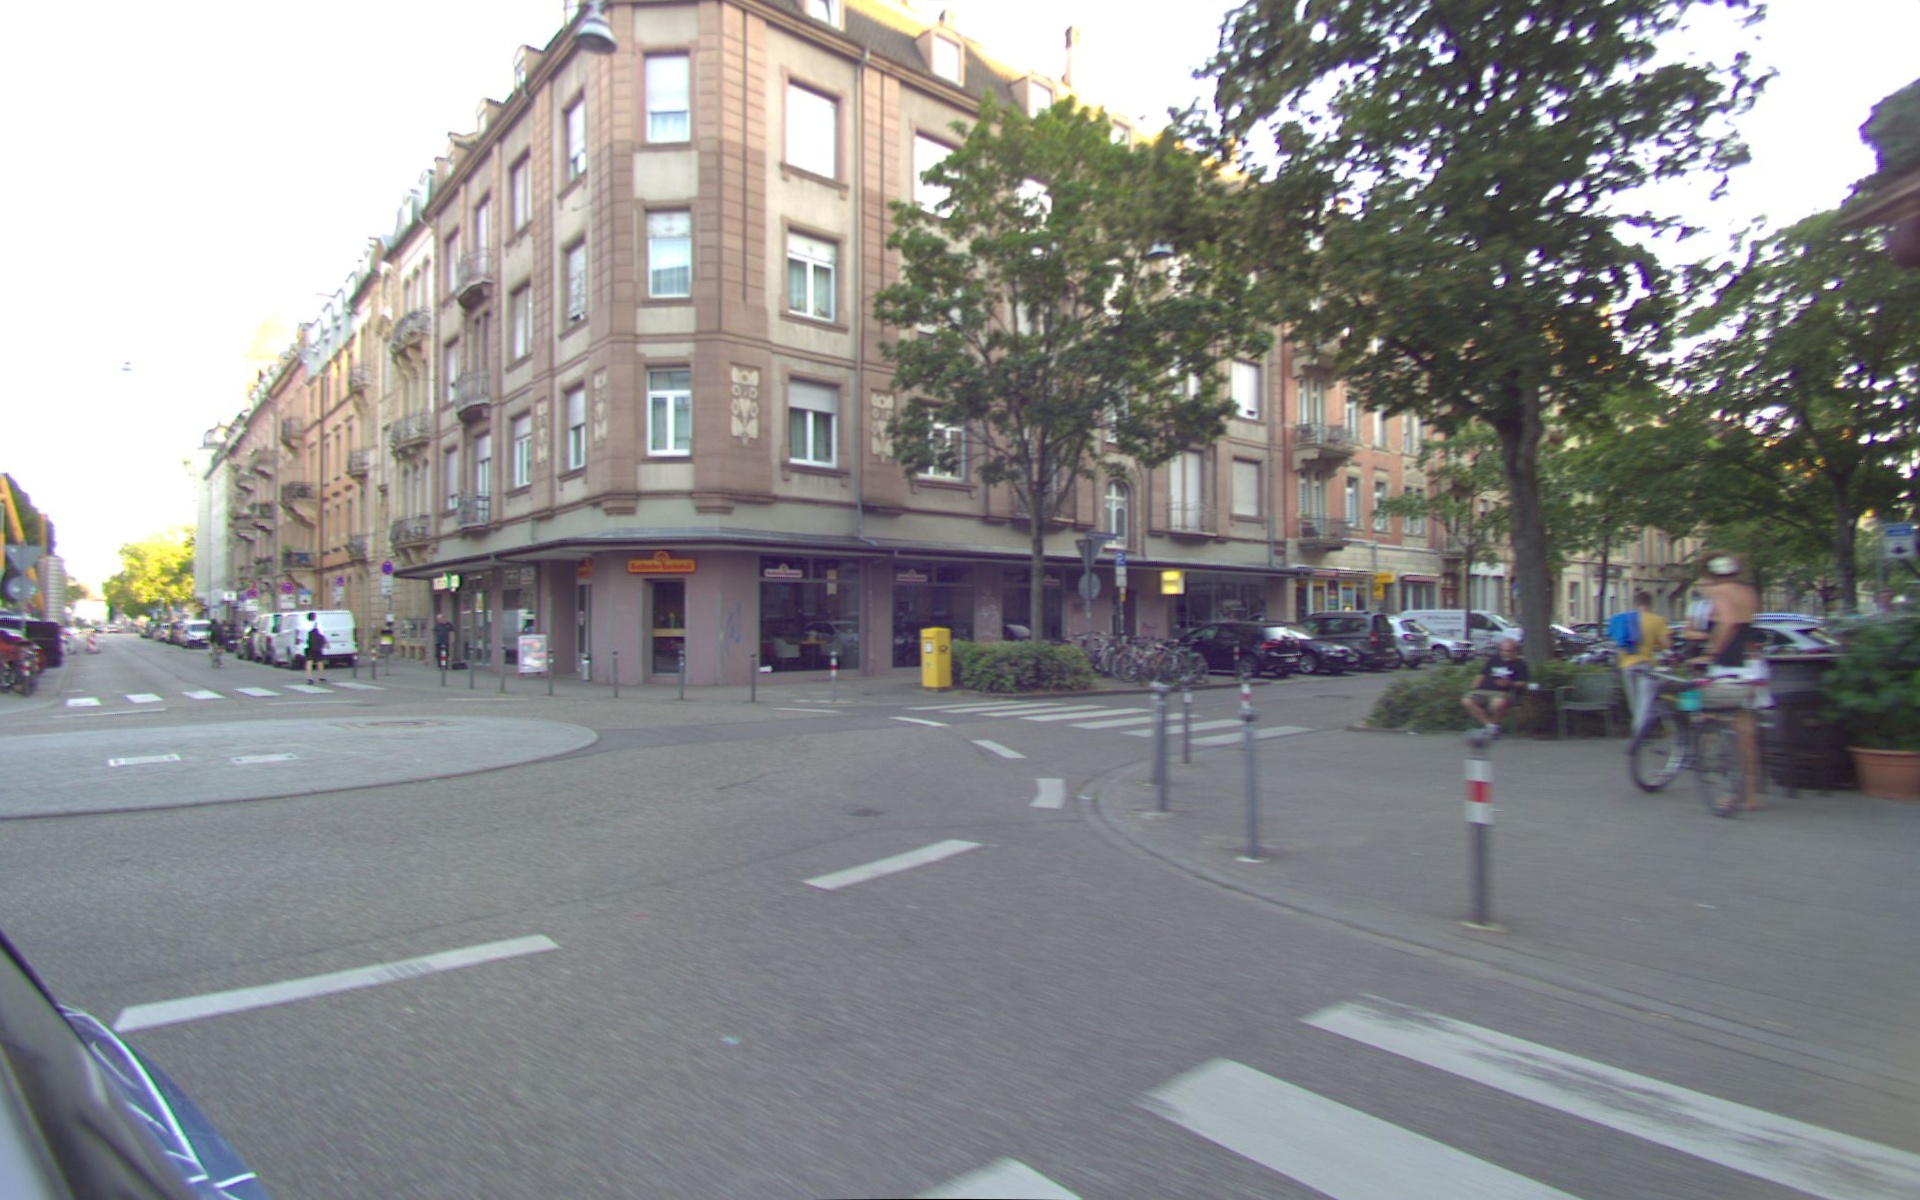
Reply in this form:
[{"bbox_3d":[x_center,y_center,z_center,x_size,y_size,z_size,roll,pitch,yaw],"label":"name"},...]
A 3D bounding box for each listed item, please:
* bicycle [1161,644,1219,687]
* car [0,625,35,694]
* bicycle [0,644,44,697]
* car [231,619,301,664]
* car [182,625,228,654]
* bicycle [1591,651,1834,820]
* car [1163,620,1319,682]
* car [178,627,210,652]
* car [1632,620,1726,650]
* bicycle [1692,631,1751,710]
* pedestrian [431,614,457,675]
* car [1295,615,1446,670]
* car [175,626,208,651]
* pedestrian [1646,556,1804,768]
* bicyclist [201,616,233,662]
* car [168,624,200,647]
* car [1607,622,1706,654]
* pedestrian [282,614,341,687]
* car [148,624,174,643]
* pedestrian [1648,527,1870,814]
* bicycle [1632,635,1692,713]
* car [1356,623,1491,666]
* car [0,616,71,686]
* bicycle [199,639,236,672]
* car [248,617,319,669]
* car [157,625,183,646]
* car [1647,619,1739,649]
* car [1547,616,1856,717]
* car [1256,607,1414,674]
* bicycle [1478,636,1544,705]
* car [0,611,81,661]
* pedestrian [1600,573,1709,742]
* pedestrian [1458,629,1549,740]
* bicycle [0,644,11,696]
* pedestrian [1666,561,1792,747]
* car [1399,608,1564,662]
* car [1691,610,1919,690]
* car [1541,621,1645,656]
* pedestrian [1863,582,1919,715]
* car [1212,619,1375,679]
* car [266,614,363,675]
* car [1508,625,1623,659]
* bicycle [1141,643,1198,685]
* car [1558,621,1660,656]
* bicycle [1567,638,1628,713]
[{"bbox_3d":[5.316,1.505,23.352,1.465,0.902,0.478,0,0,-37],"label":"bicycle"},{"bbox_3d":[-25.299,1.507,24.490,1.813,1.680,3.977,0,0,18],"label":"car"},{"bbox_3d":[-22.509,1.622,23.702,2.101,1.178,0.661,0,-3,22],"label":"bicycle"},{"bbox_3d":[-30.485,1.799,44.426,2.109,1.835,4.548,0,-1,-40],"label":"car"},{"bbox_3d":[-49.225,2.533,65.949,2.109,1.835,4.547,0,-1,-41],"label":"car"},{"bbox_3d":[5.381,0.920,7.393,0.605,1.033,1.770,-3,-2,9],"label":"bicycle"},{"bbox_3d":[7.439,1.308,27.055,1.695,1.488,3.692,2,-1,-41],"label":"car"},{"bbox_3d":[-55.935,2.859,73.919,1.812,1.654,3.933,0,0,-38],"label":"car"},{"bbox_3d":[38.599,1.875,54.370,1.694,1.519,3.817,2,-1,-41],"label":"car"},{"bbox_3d":[12.614,1.135,16.748,0.687,1.193,1.789,-3,-2,38],"label":"bicycle"},{"bbox_3d":[-15.723,1.348,30.825,0.644,1.792,0.694,-1,-2,-23],"label":"pedestrian"},{"bbox_3d":[12.907,1.306,31.965,1.879,1.586,4.006,2,-1,-41],"label":"car"},{"bbox_3d":[-58.516,2.880,77.088,1.968,1.752,4.008,0,0,-38],"label":"car"},{"bbox_3d":[7.055,0.551,9.342,1.032,1.825,0.758,-1,-3,-34],"label":"pedestrian"},{"bbox_3d":[-27.388,1.444,37.314,1.201,1.653,0.744,-3,-2,43],"label":"bicyclist"},{"bbox_3d":[-61.936,2.806,80.792,1.968,1.752,4.008,0,0,-38],"label":"car"},{"bbox_3d":[35.137,1.895,51.116,1.694,1.519,3.817,2,-1,-41],"label":"car"},{"bbox_3d":[-16.321,1.253,25.499,0.738,1.757,1.214,-1,-1,-4],"label":"pedestrian"},{"bbox_3d":[-75.926,3.165,96.244,1.879,1.752,3.858,0,0,-38],"label":"car"},{"bbox_3d":[5.609,0.483,7.188,0.717,1.869,1.019,-3,-2,9],"label":"pedestrian"},{"bbox_3d":[12.052,1.244,17.354,0.687,1.228,1.789,-3,-2,38],"label":"bicycle"},{"bbox_3d":[15.683,1.488,34.381,1.694,1.322,3.817,2,-1,-41],"label":"car"},{"bbox_3d":[-30.765,1.596,30.853,2.104,2.113,5.106,0,0,24],"label":"car"},{"bbox_3d":[-27.379,2.035,37.303,1.976,1.139,0.744,-2,-2,43],"label":"bicycle"},{"bbox_3d":[-26.686,1.646,39.877,1.851,1.918,4.333,0,-1,-40],"label":"car"},{"bbox_3d":[-71.847,3.193,92.049,1.839,1.752,3.808,0,0,-38],"label":"car"},{"bbox_3d":[40.142,1.849,55.489,1.694,1.519,3.817,2,-1,-41],"label":"car"},{"bbox_3d":[14.010,1.157,19.332,1.861,1.637,4.480,0,0,-41],"label":"car"},{"bbox_3d":[11.263,1.172,30.572,1.969,1.852,4.006,2,-1,-41],"label":"car"},{"bbox_3d":[10.173,1.270,18.651,0.705,1.185,1.927,-3,-3,38],"label":"bicycle"},{"bbox_3d":[-43.931,1.624,46.325,2.324,2.211,5.106,0,0,24],"label":"car"},{"bbox_3d":[7.802,0.632,11.377,0.775,1.805,0.759,0,-4,-43],"label":"pedestrian"},{"bbox_3d":[6.762,1.034,12.592,0.736,1.315,0.781,-5,-5,44],"label":"pedestrian"},{"bbox_3d":[-23.012,1.601,23.429,2.101,1.178,0.661,0,-3,22],"label":"bicycle"},{"bbox_3d":[8.045,0.551,10.585,0.874,1.842,0.759,0,-4,-40],"label":"pedestrian"},{"bbox_3d":[19.428,1.271,37.931,2.083,1.844,5.119,2,-1,-38],"label":"car"},{"bbox_3d":[21.482,1.169,25.648,1.947,1.814,4.480,0,0,-41],"label":"car"},{"bbox_3d":[29.463,1.785,47.162,1.694,1.519,3.817,2,-1,-41],"label":"car"},{"bbox_3d":[12.779,0.650,13.686,0.695,1.738,0.840,-5,-4,44],"label":"pedestrian"},{"bbox_3d":[9.383,1.349,28.699,1.824,1.522,4.005,2,-1,-42],"label":"car"},{"bbox_3d":[-22.659,1.501,35.429,2.110,1.973,4.775,0,-1,-42],"label":"car"},{"bbox_3d":[25.375,1.740,42.521,1.694,1.322,3.817,2,-2,-41],"label":"car"},{"bbox_3d":[4.960,1.499,23.891,1.465,0.902,0.478,0,0,-37],"label":"bicycle"},{"bbox_3d":[31.052,1.822,48.482,1.694,1.519,3.817,2,-1,-41],"label":"car"},{"bbox_3d":[11.354,1.310,18.005,0.687,1.212,1.789,-3,-2,38],"label":"bicycle"}]
